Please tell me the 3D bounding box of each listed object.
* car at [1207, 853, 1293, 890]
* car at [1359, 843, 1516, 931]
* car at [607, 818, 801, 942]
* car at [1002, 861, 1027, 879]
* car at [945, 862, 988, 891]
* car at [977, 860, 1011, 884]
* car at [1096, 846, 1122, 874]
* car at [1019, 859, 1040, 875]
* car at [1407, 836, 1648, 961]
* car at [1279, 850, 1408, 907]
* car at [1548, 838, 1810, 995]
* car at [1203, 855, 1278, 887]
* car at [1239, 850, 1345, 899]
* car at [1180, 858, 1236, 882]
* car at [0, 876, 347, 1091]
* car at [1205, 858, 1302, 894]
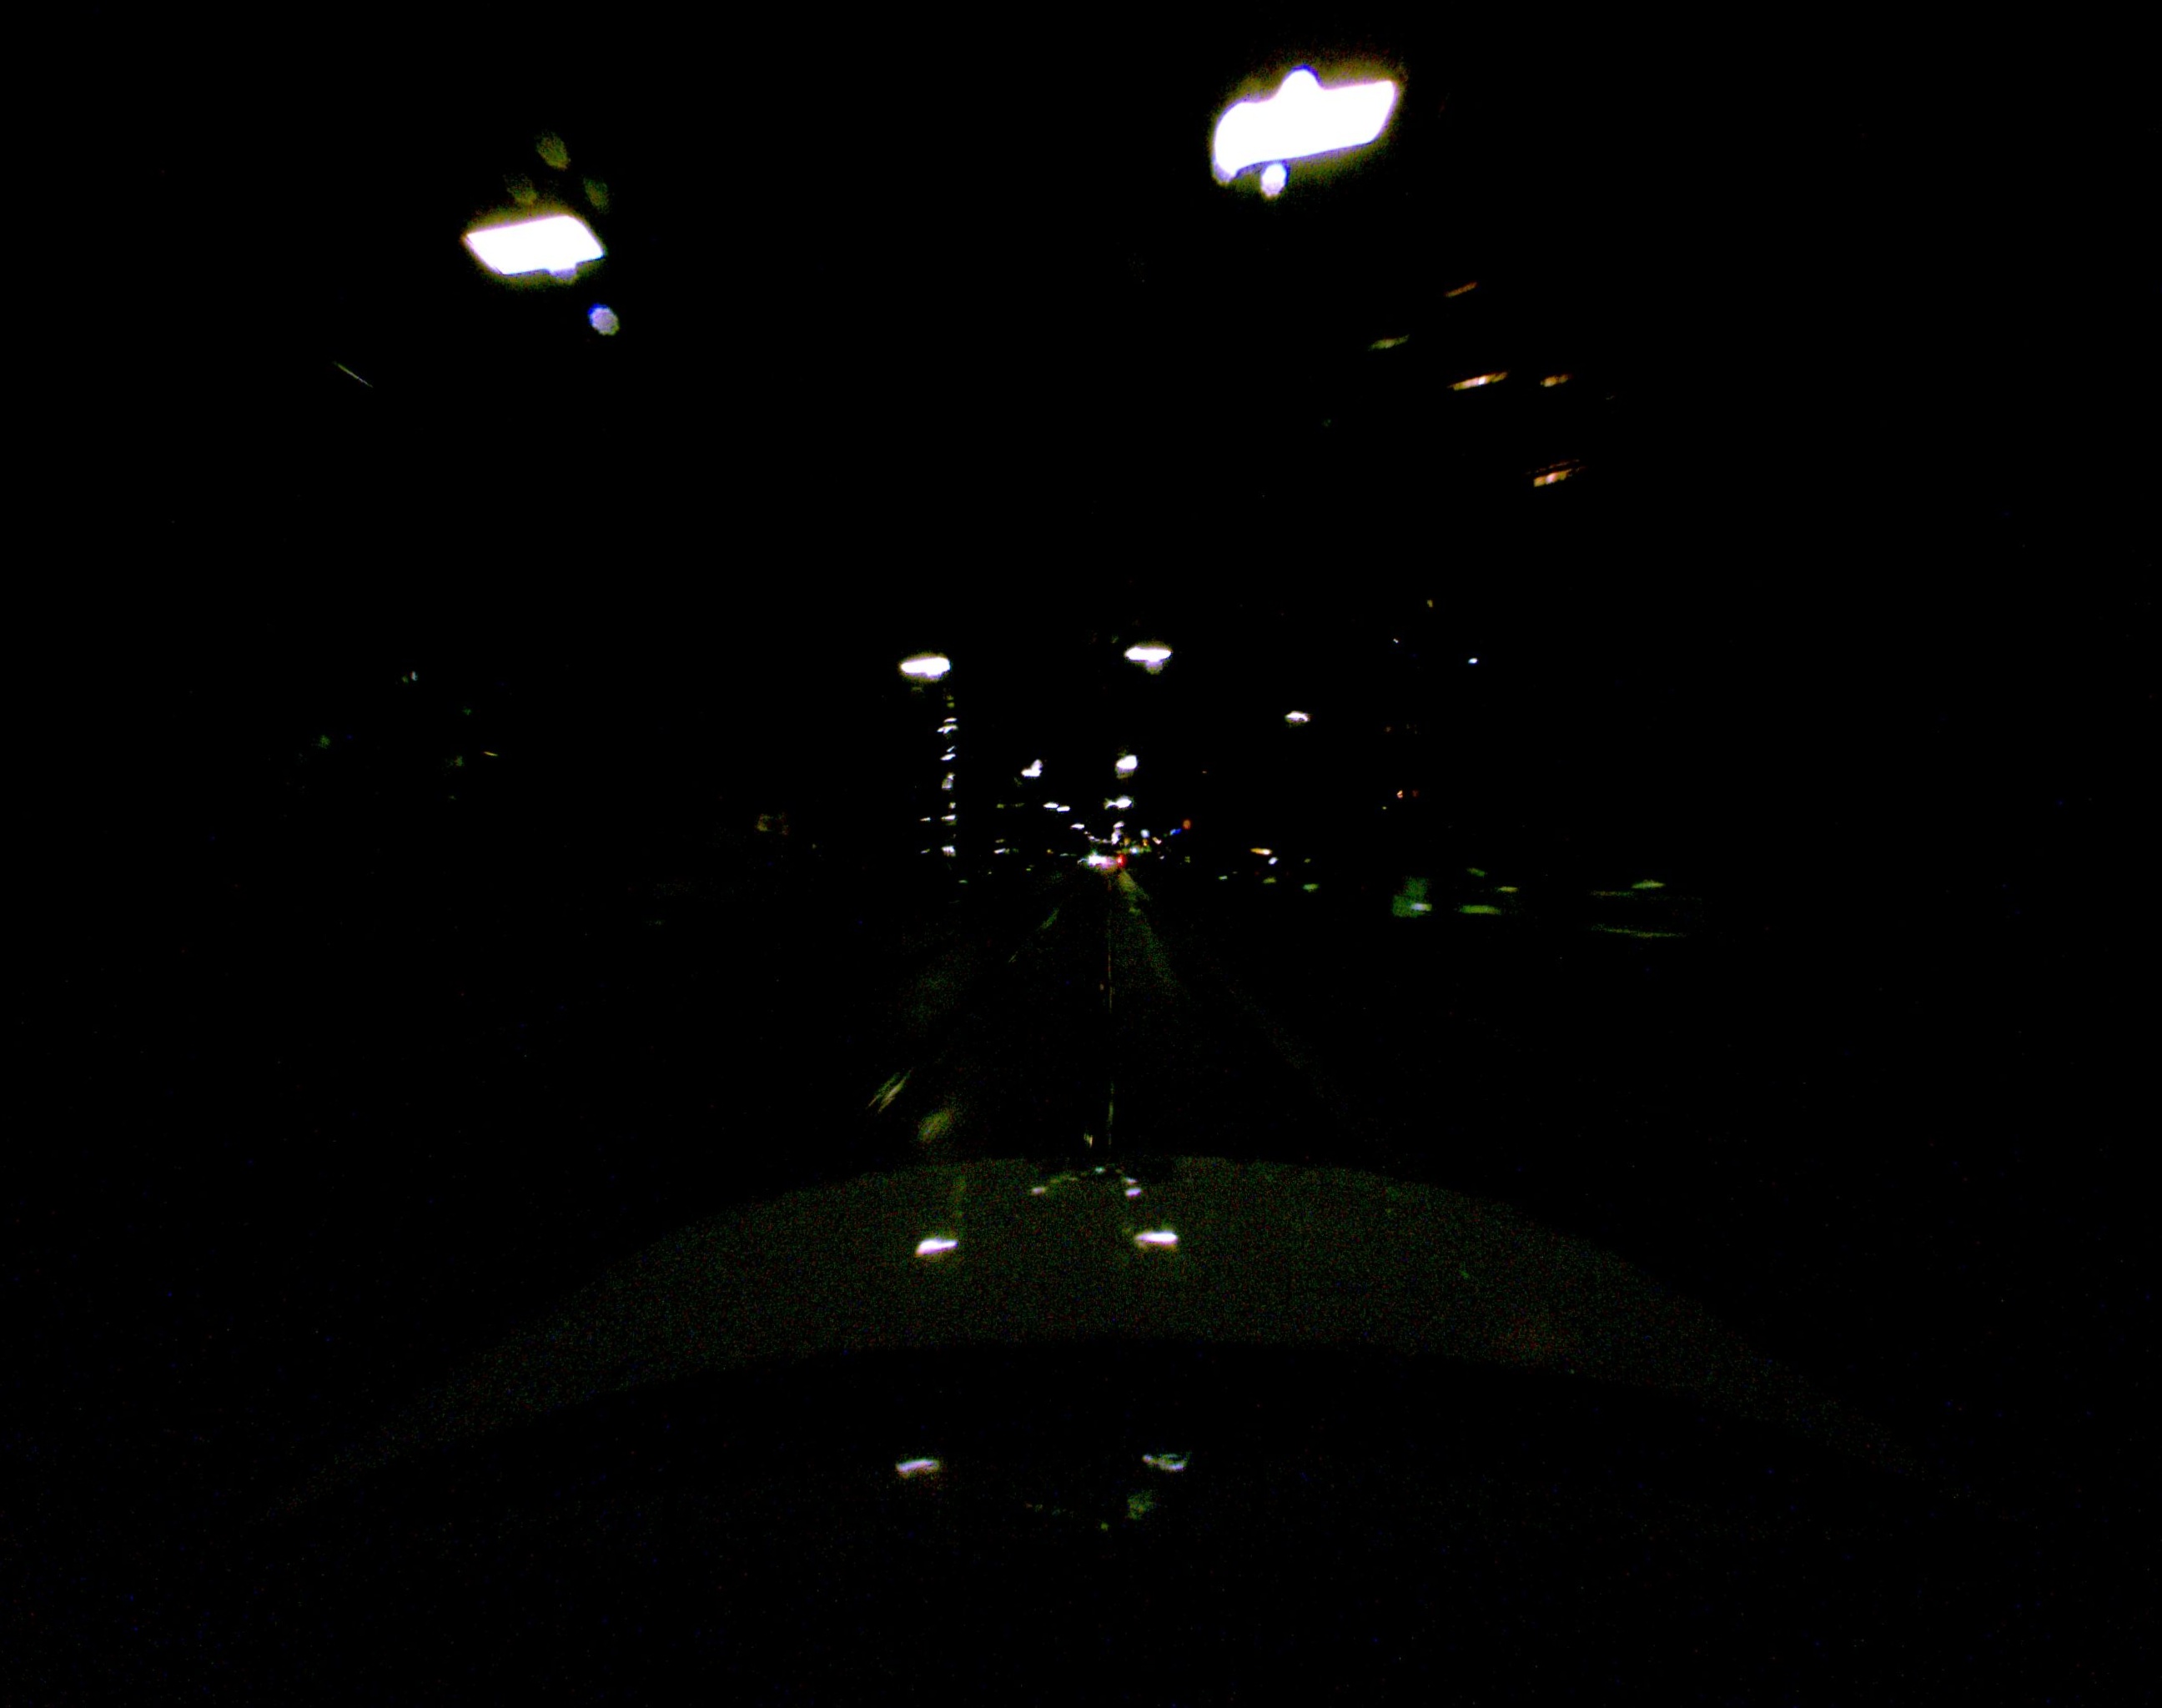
[{"bbox_3d":[8.218,0.804,39.322,4.272,1.698,2.005,1,-1,-44],"label":"car"},{"bbox_3d":[7.235,0.583,16.346,1.682,1.533,3.774,2,1,43],"label":"car"},{"bbox_3d":[-8.668,0.528,19.468,2.019,2.499,5.606,1,0,-1],"label":"car"},{"bbox_3d":[-6.678,1.593,81.816,2.015,1.761,4.001,1,-1,1],"label":"car"},{"bbox_3d":[-7.437,1.436,53.418,2.102,1.765,4.963,1,-1,-1],"label":"car"},{"bbox_3d":[-6.574,1.367,61.839,1.992,1.785,4.001,1,-1,2],"label":"car"},{"bbox_3d":[2.500,0.577,74.195,2.209,2.442,5.383,-1,0,0],"label":"car"},{"bbox_3d":[-5.798,1.487,92.958,2.015,1.761,4.001,1,-1,1],"label":"car"},{"bbox_3d":[6.638,0.541,11.947,3.908,1.533,1.800,0,0,-40],"label":"car"},{"bbox_3d":[7.307,0.623,22.536,3.848,1.430,1.618,0,0,-40],"label":"car"},{"bbox_3d":[7.035,0.584,9.429,3.877,1.433,1.799,1,-1,-44],"label":"car"},{"bbox_3d":[8.329,0.869,42.414,3.985,1.572,1.887,1,-1,-44],"label":"car"},{"bbox_3d":[7.514,0.690,28.779,2.030,1.623,3.851,0,-1,43],"label":"car"},{"bbox_3d":[8.541,1.034,54.471,1.886,1.572,3.987,0,-1,40],"label":"car"},{"bbox_3d":[-9.172,1.051,7.432,1.636,1.507,3.618,0,1,-1],"label":"car"},{"bbox_3d":[7.428,0.899,34.822,4.271,1.454,1.927,1,-1,-42],"label":"car"}]
